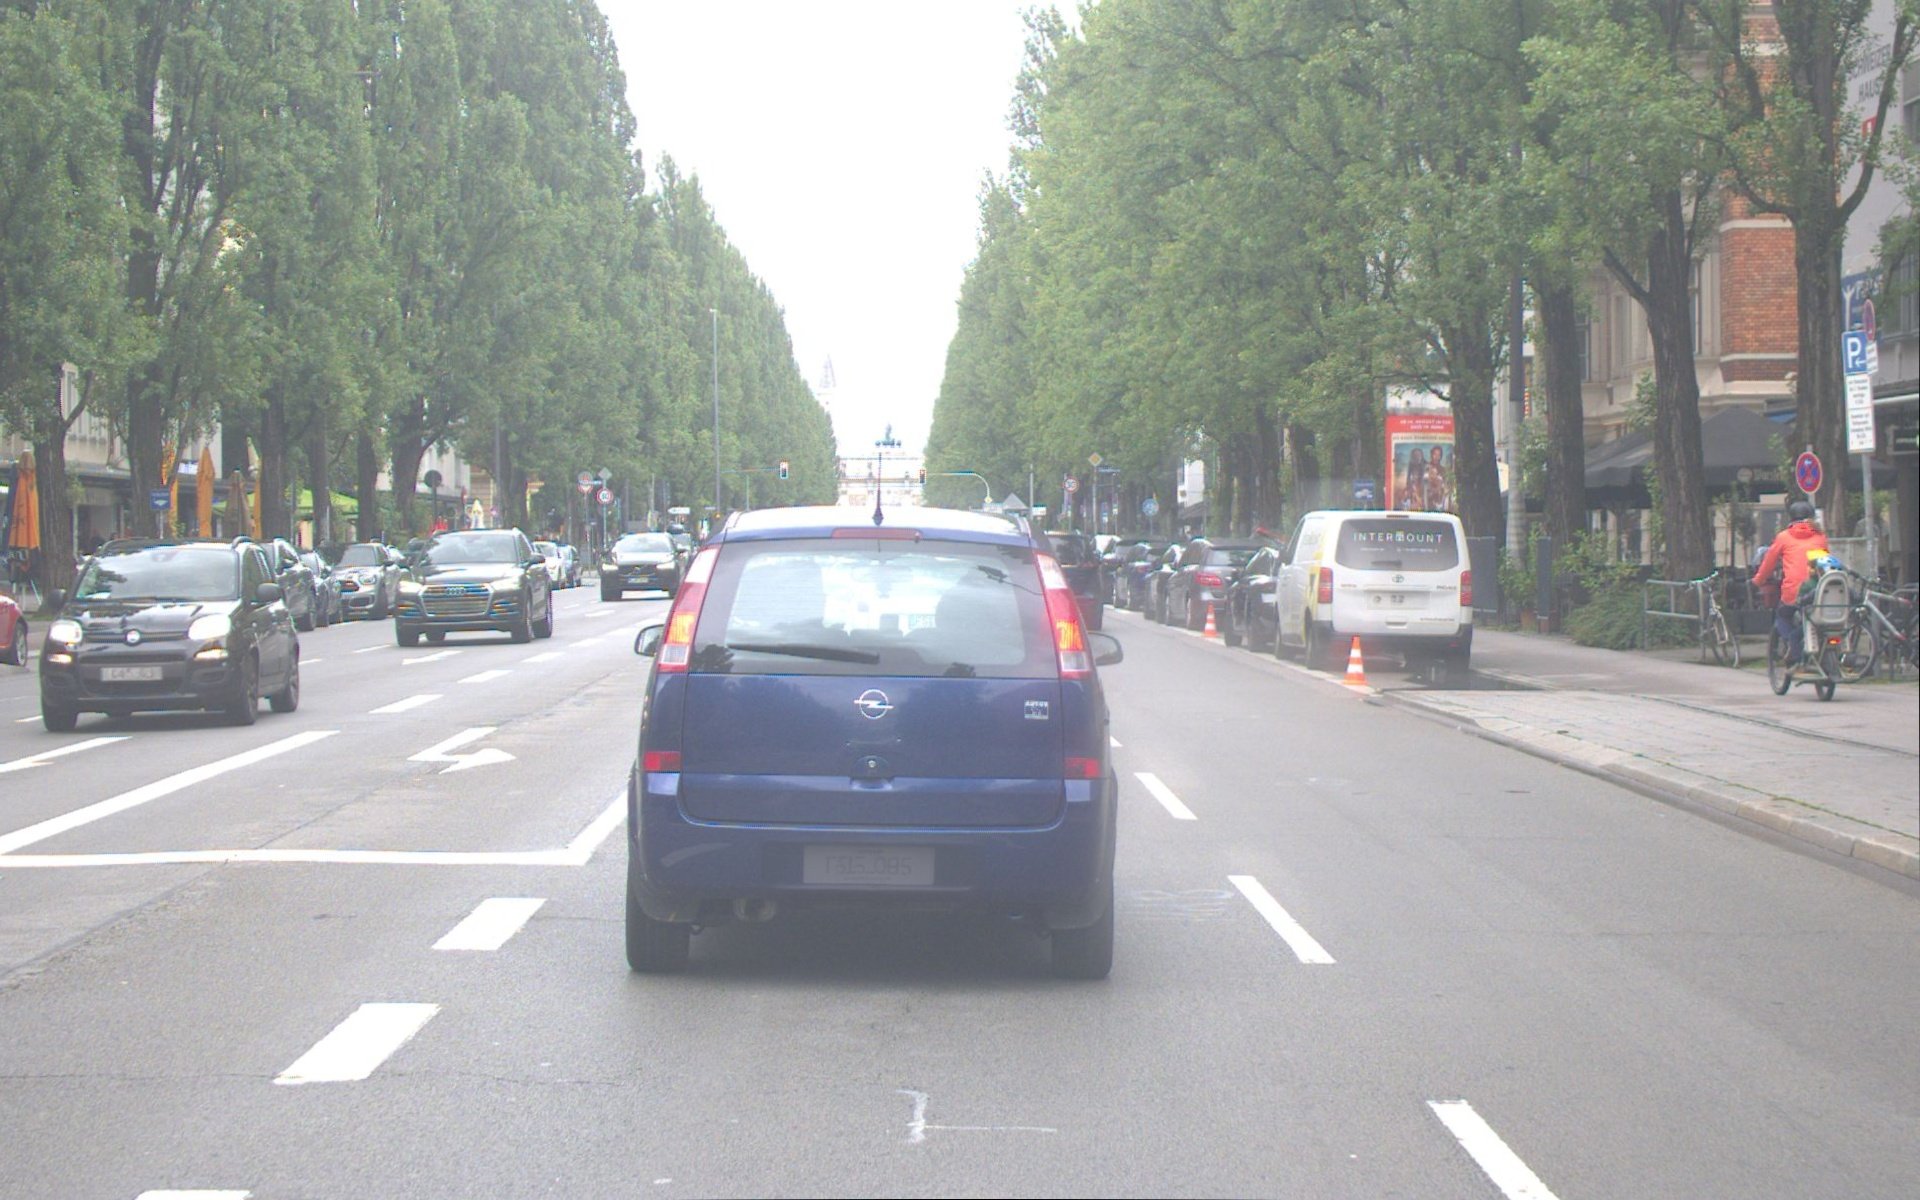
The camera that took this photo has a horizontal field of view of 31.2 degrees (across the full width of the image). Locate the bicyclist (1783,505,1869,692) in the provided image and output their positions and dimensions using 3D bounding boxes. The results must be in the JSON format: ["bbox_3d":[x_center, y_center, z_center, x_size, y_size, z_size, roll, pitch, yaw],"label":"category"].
[{"bbox_3d":[7.402,-0.018,29.400,0.621,1.583,0.391,-1,1,-2],"label":"bicyclist"}]

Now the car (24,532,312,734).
[{"bbox_3d":[-6.348,0.215,27.907,1.561,1.491,3.695,-1,1,-2],"label":"car"}]

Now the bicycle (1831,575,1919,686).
[{"bbox_3d":[9.500,0.284,33.823,1.757,1.040,0.484,-2,1,-11],"label":"bicycle"}]

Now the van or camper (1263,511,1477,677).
[{"bbox_3d":[4.866,-0.114,41.461,1.868,1.876,4.903,0,1,-1],"label":"van or camper"}]

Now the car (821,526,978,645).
[{"bbox_3d":[-0.844,-0.228,45.826,1.993,1.492,4.001,0,1,-2],"label":"car"}]

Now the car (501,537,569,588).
[{"bbox_3d":[-13.370,-1.196,108.263,1.835,1.541,4.087,-1,1,-3],"label":"car"}]

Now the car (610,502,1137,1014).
[{"bbox_3d":[-0.349,0.467,13.062,1.681,1.635,4.001,1,1,-2],"label":"car"}]

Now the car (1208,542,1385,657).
[{"bbox_3d":[4.540,-0.045,46.944,1.719,1.437,4.354,2,1,-3],"label":"car"}]

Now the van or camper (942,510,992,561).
[{"bbox_3d":[0.345,-3.335,177.960,2.476,2.572,5.845,-1,1,-1],"label":"van or camper"}]

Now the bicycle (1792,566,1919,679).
[{"bbox_3d":[9.266,0.220,34.535,1.737,1.106,0.448,0,1,-11],"label":"bicycle"}]

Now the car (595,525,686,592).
[{"bbox_3d":[-7.880,-1.041,85.135,1.935,1.618,4.337,0,1,-1],"label":"car"}]

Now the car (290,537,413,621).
[{"bbox_3d":[-12.201,-0.446,69.148,1.782,1.570,4.133,-2,1,-1],"label":"car"}]

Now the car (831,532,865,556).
[{"bbox_3d":[-6.528,-3.270,200.453,1.961,1.394,3.779,-1,1,-2],"label":"car"}]

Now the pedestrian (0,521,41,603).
[{"bbox_3d":[-20.297,-0.824,73.739,0.851,1.738,1.148,0,1,-1],"label":"pedestrian"}]

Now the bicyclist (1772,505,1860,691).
[{"bbox_3d":[7.398,-0.022,29.727,0.621,1.583,0.481,-1,1,-2],"label":"bicyclist"}]

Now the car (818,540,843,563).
[{"bbox_3d":[-9.495,-3.542,252.192,1.835,1.671,3.779,-1,1,-2],"label":"car"}]

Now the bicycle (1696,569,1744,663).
[{"bbox_3d":[8.751,0.176,39.616,0.364,1.034,1.730,0,1,7],"label":"bicycle"}]

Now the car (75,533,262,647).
[{"bbox_3d":[-12.292,-0.193,53.649,1.820,1.612,4.716,0,2,0],"label":"car"}]

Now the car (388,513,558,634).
[{"bbox_3d":[-7.041,-0.419,50.102,1.913,1.675,4.586,0,1,-1],"label":"car"}]

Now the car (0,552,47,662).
[{"bbox_3d":[-12.314,0.103,40.502,1.879,1.293,4.095,0,1,2],"label":"car"}]

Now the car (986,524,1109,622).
[{"bbox_3d":[1.418,-0.472,57.099,1.706,1.568,4.001,0,1,-3],"label":"car"}]

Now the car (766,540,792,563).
[{"bbox_3d":[-13.374,-3.597,254.446,1.835,1.733,3.779,-1,1,-2],"label":"car"}]

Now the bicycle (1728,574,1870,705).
[{"bbox_3d":[7.380,0.326,30.344,0.626,1.083,2.264,-1,1,-2],"label":"bicycle"}]

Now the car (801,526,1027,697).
[{"bbox_3d":[-0.479,0.060,32.464,1.993,1.492,4.001,0,1,-2],"label":"car"}]

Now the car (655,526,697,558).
[{"bbox_3d":[-14.860,-3.038,179.905,1.993,1.656,4.000,-1,1,-2],"label":"car"}]

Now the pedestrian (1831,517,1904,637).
[{"bbox_3d":[14.057,-0.359,53.274,0.826,1.834,1.099,0,1,-1],"label":"pedestrian"}]

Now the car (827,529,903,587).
[{"bbox_3d":[-2.543,-1.133,91.502,1.993,1.492,4.001,0,1,-2],"label":"car"}]

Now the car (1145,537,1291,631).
[{"bbox_3d":[4.297,-0.293,57.903,1.816,1.501,4.233,-1,1,-4],"label":"car"}]

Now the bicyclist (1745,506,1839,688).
[{"bbox_3d":[7.370,-0.032,30.479,0.621,1.583,0.753,-1,1,-2],"label":"bicyclist"}]
